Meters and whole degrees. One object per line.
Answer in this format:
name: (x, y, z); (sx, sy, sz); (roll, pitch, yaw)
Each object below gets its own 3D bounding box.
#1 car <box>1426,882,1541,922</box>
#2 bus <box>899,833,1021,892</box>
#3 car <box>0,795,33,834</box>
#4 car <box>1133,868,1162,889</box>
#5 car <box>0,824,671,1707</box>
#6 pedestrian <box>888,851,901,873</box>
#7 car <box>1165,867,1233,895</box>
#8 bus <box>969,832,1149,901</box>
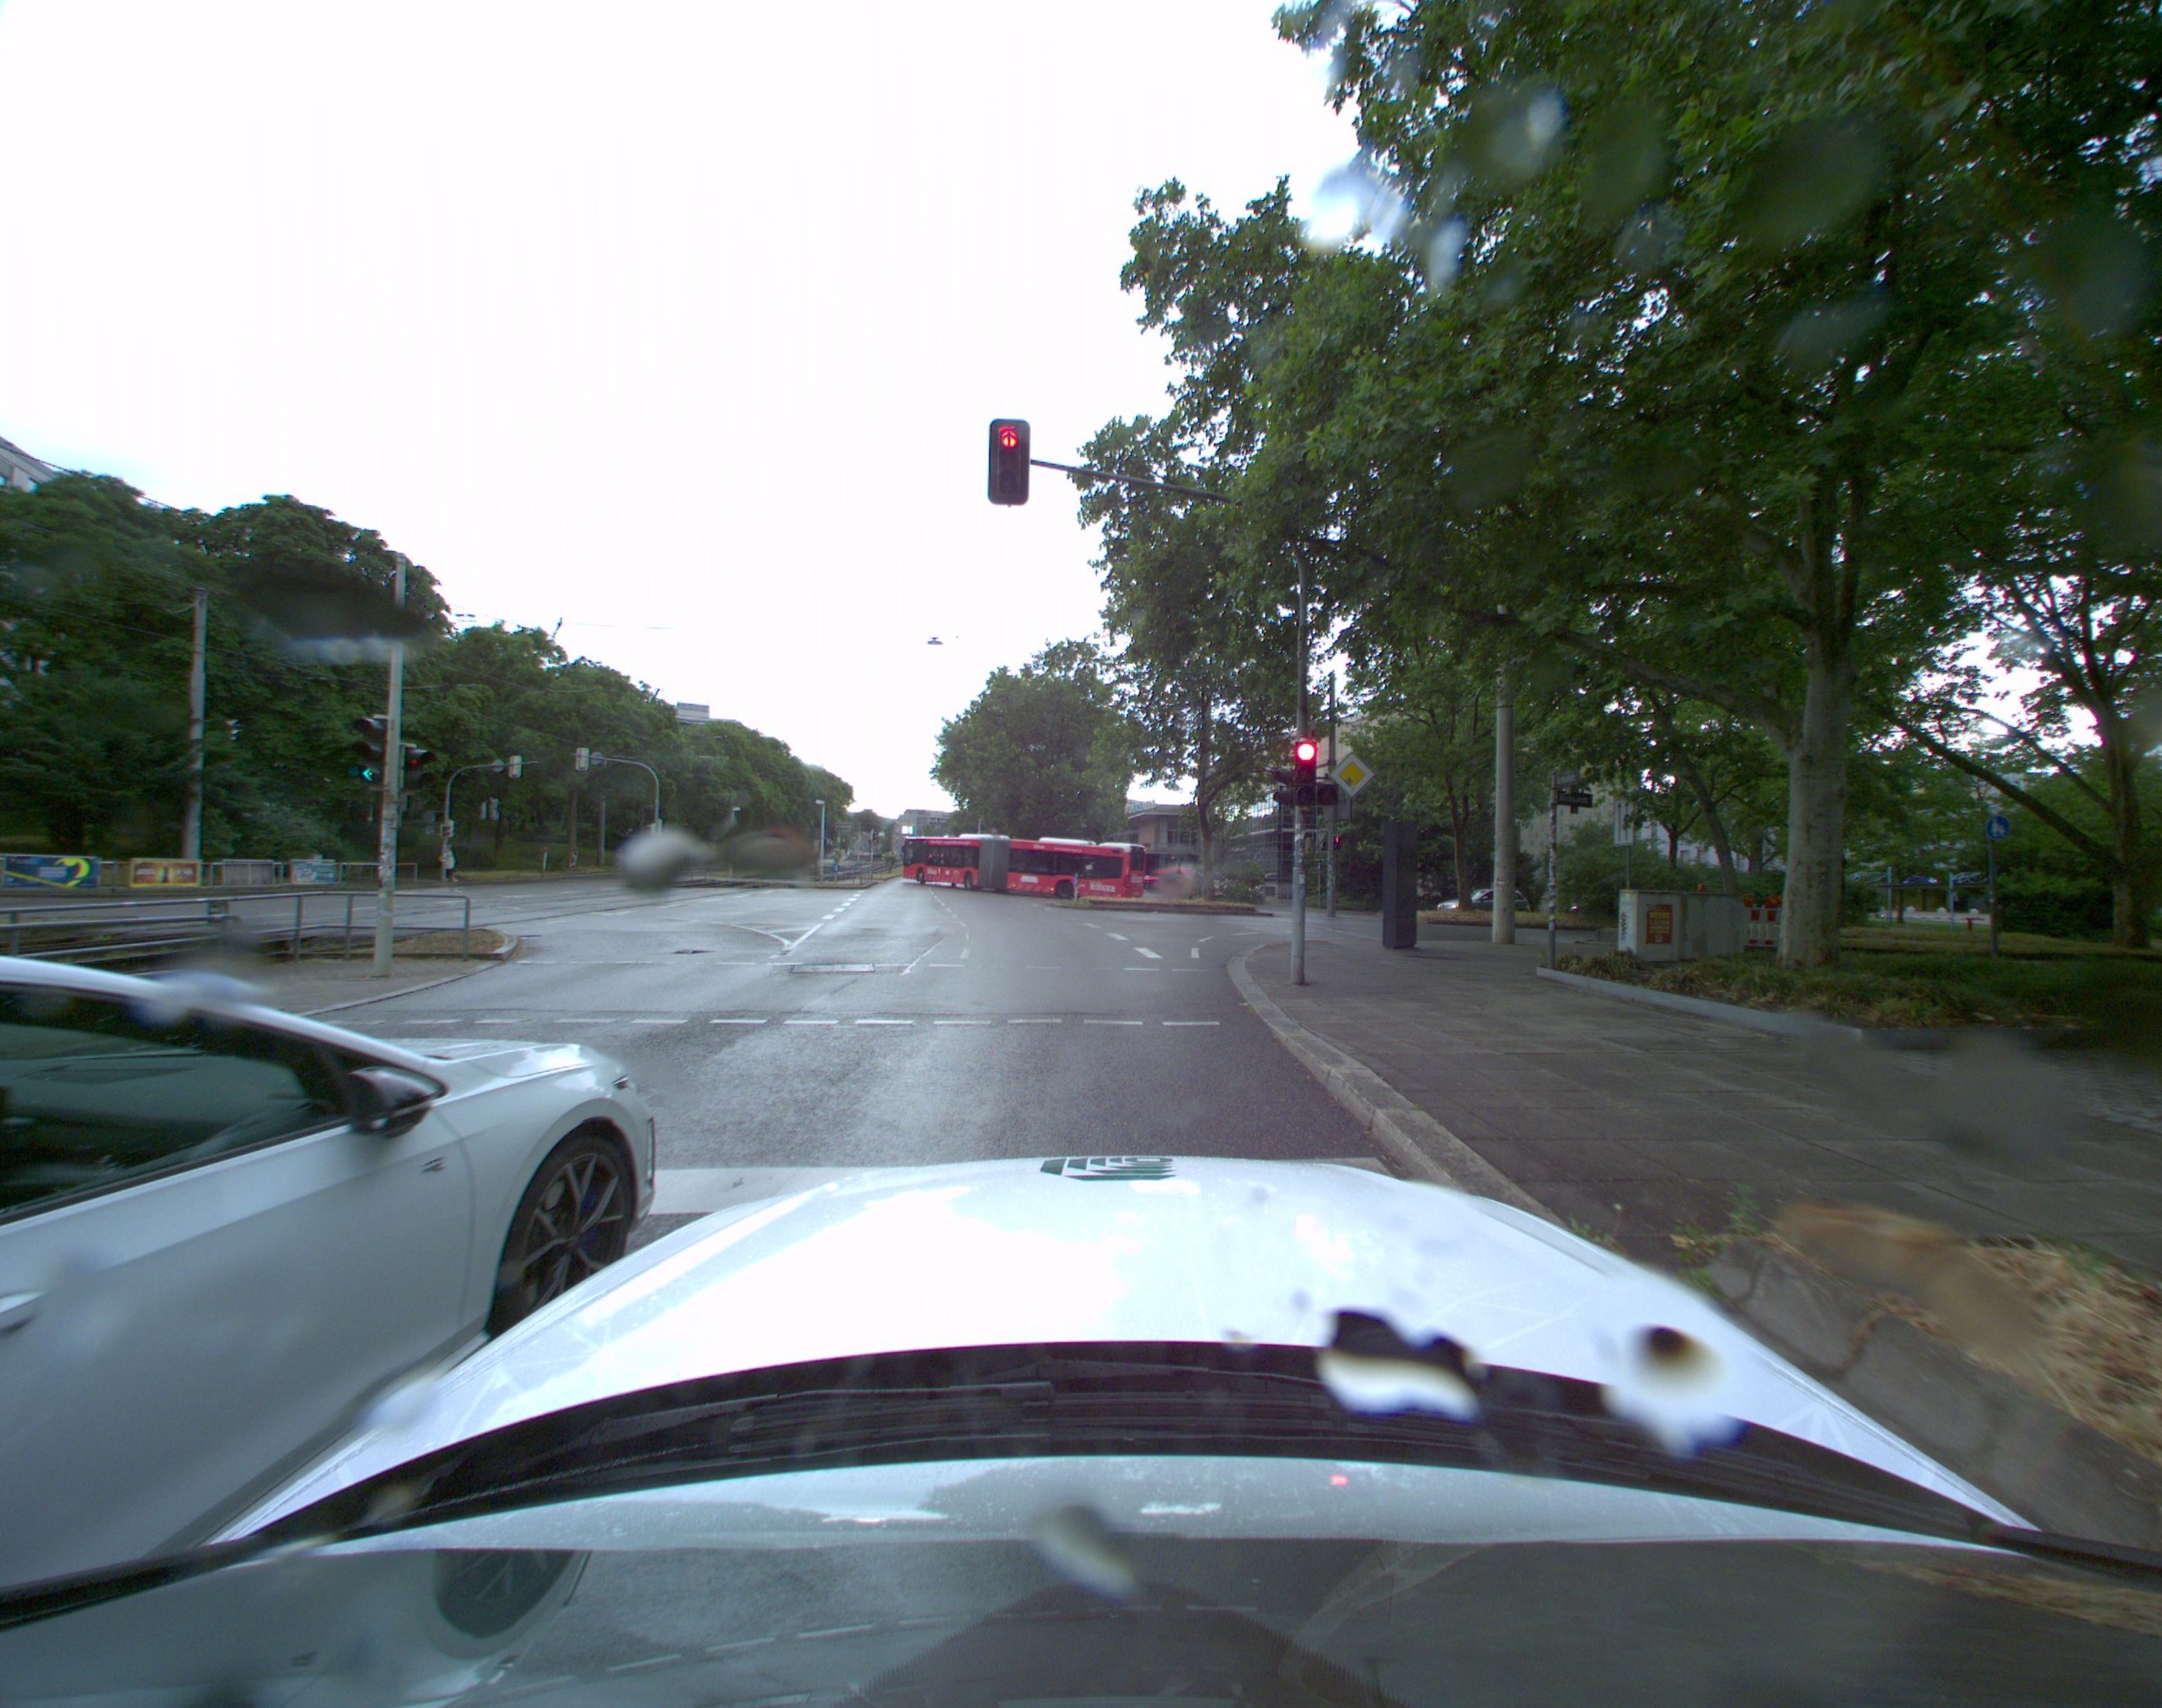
car: (17.341, 2.060, 35.176); (3.980, 1.442, 1.997); (3, -1, -5)
bus: (-7.344, 0.425, 48.050); (2.571, 3.111, 9.346); (4, -2, -39)
car: (-52.920, -1.969, 38.792); (2.005, 1.794, 4.172); (4, -2, -28)
car: (6.942, 2.533, 85.327); (1.994, 2.014, 3.985); (3, -1, -10)
car: (-2.420, 0.736, 0.887); (1.673, 1.576, 4.254); (1, 0, 2)
pedestrian: (-14.585, 0.622, 63.733); (0.736, 1.640, 0.869); (3, -2, -3)
car: (9.083, 2.102, 62.885); (4.762, 1.943, 1.986); (3, -2, -20)
bus: (-1.235, 0.604, 42.562); (9.070, 3.111, 2.679); (2, -2, 27)
